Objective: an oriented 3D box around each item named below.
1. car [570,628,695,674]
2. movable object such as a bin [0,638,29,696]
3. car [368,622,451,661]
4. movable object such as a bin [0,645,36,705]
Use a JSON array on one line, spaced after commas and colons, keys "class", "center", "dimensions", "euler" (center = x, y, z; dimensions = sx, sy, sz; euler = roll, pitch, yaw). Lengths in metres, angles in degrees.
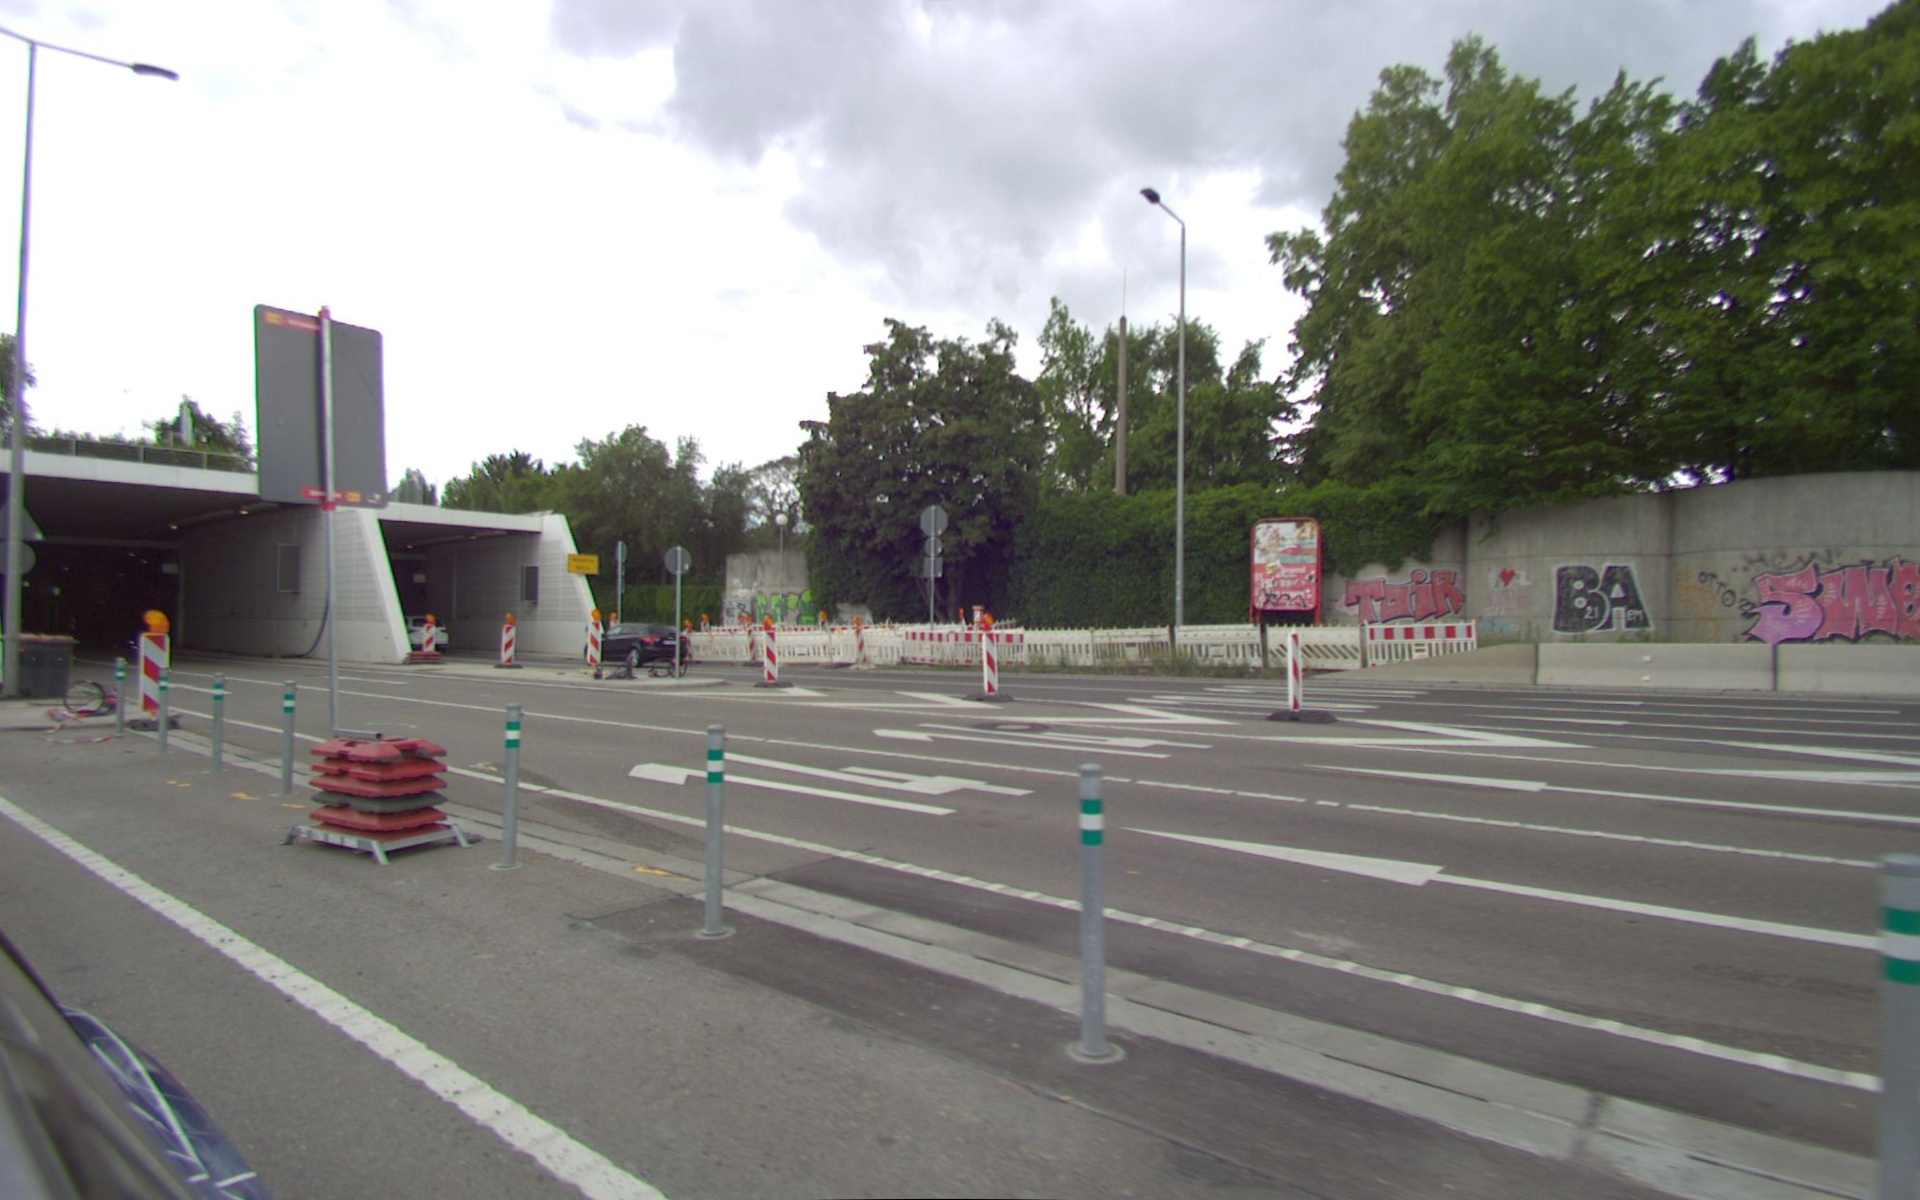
[{"class": "car", "center": [-10.587, 1.592, 32.629], "dimensions": [4.190, 1.360, 1.845], "euler": [-1, -1, 38]}, {"class": "movable object such as a bin", "center": [-17.242, 1.201, 18.269], "dimensions": [0.546, 1.016, 0.547], "euler": [-1, -1, 35]}, {"class": "car", "center": [-24.659, 1.814, 45.278], "dimensions": [4.373, 1.674, 1.828], "euler": [-1, -2, 41]}, {"class": "movable object such as a bin", "center": [-16.821, 1.317, 17.998], "dimensions": [0.422, 1.024, 0.484], "euler": [-1, -1, 34]}]
